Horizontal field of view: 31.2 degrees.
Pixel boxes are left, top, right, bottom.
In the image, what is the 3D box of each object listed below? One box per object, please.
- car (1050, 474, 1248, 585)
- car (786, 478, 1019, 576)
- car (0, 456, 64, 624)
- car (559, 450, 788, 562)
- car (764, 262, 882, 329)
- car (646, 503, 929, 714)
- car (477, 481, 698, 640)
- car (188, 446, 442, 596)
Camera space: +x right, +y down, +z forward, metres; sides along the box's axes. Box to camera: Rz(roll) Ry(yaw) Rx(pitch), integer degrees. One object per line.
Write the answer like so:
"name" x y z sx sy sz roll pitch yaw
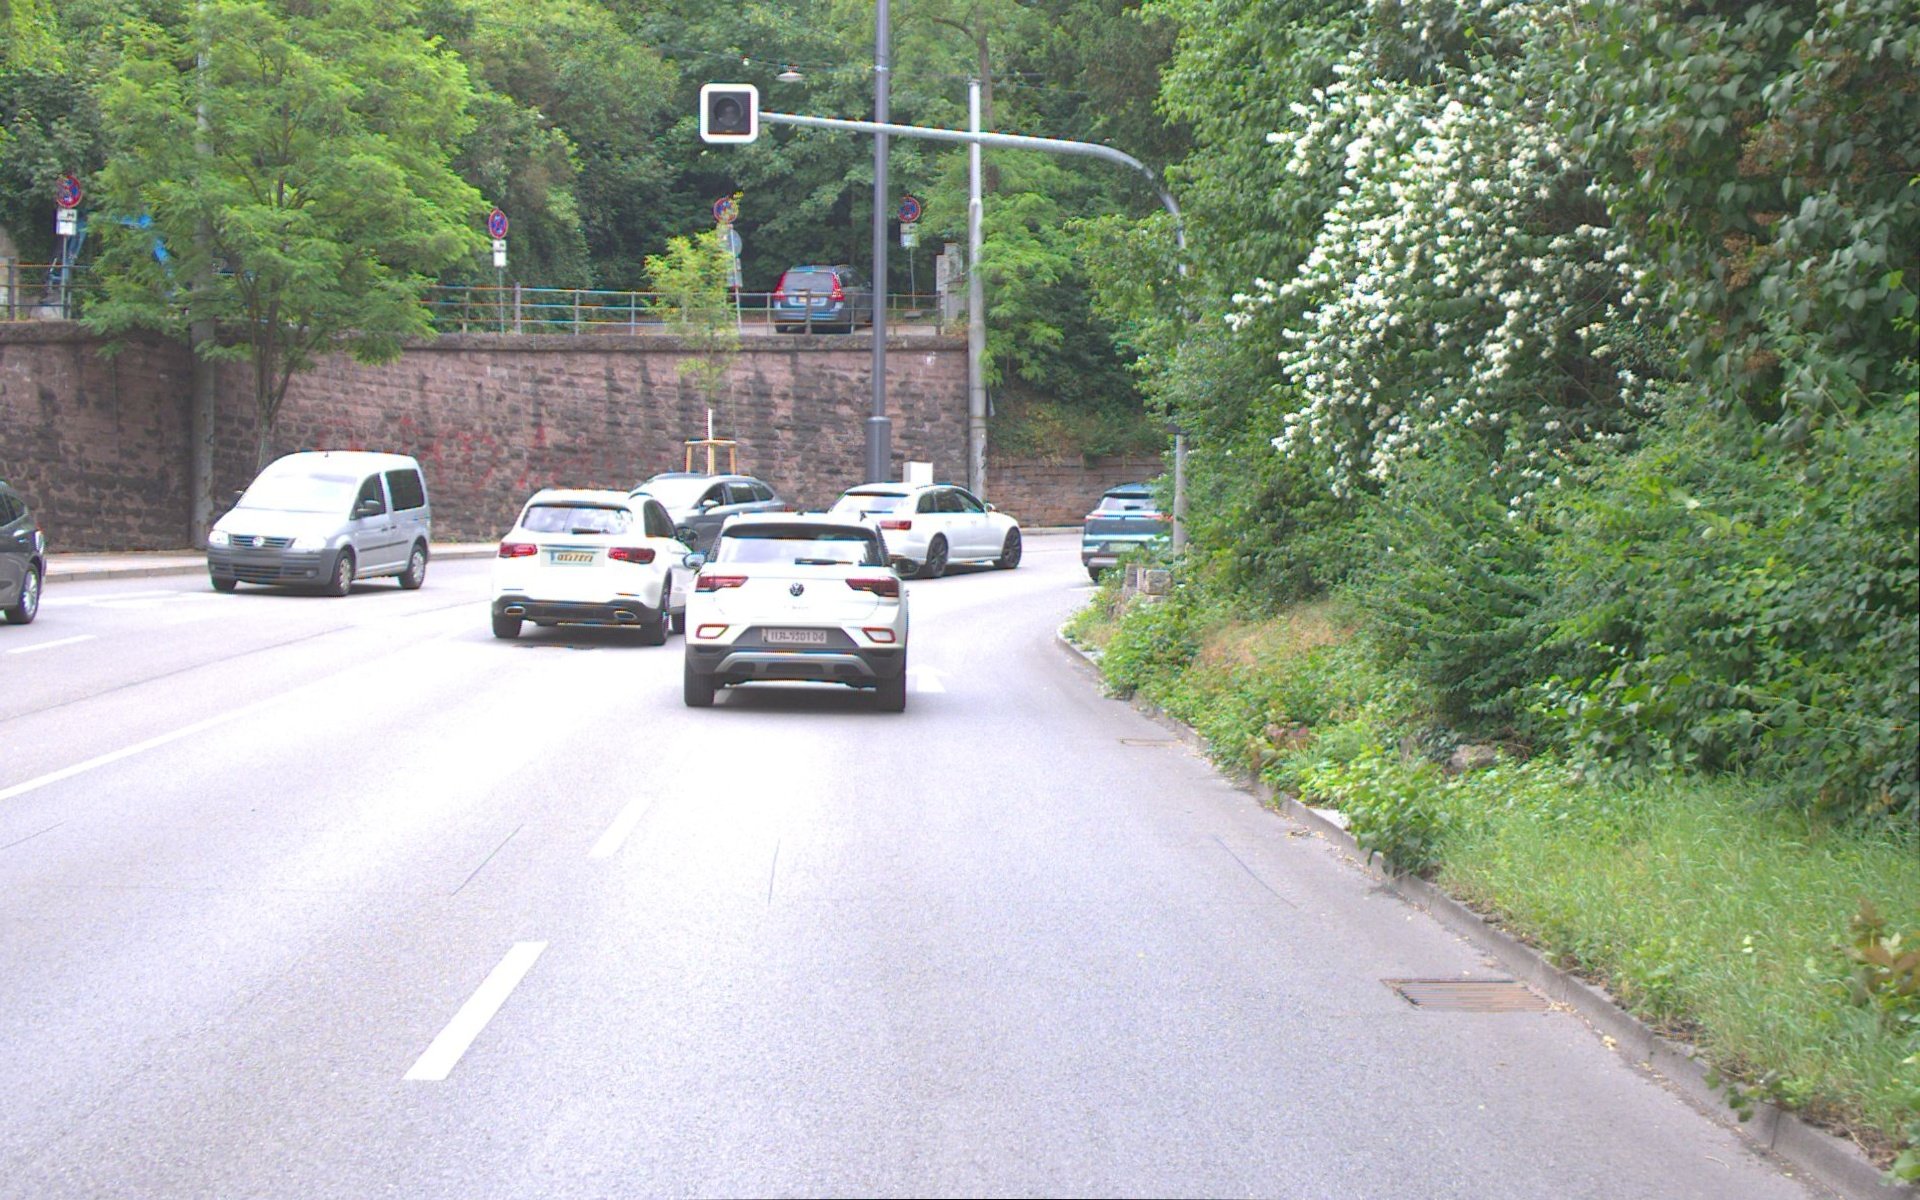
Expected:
"car" 3.047 -1.129 54.606 1.863 1.626 3.955 -2 1 23
"car" -0.872 -1.187 55.236 2.250 1.514 4.303 0 2 22
"car" -10.404 -0.617 33.568 1.994 1.612 4.329 3 3 2
"car" -4.672 -1.551 56.663 1.948 1.688 4.281 3 3 23
"car" -3.148 -7.077 79.824 1.994 1.480 4.000 0 5 9
"car" -1.494 0.020 28.260 1.864 1.550 3.896 2 1 -9
"car" -4.080 -0.453 38.317 1.877 1.646 4.341 1 1 1
"car" -8.434 -1.096 45.325 1.946 1.792 4.285 3 3 8
